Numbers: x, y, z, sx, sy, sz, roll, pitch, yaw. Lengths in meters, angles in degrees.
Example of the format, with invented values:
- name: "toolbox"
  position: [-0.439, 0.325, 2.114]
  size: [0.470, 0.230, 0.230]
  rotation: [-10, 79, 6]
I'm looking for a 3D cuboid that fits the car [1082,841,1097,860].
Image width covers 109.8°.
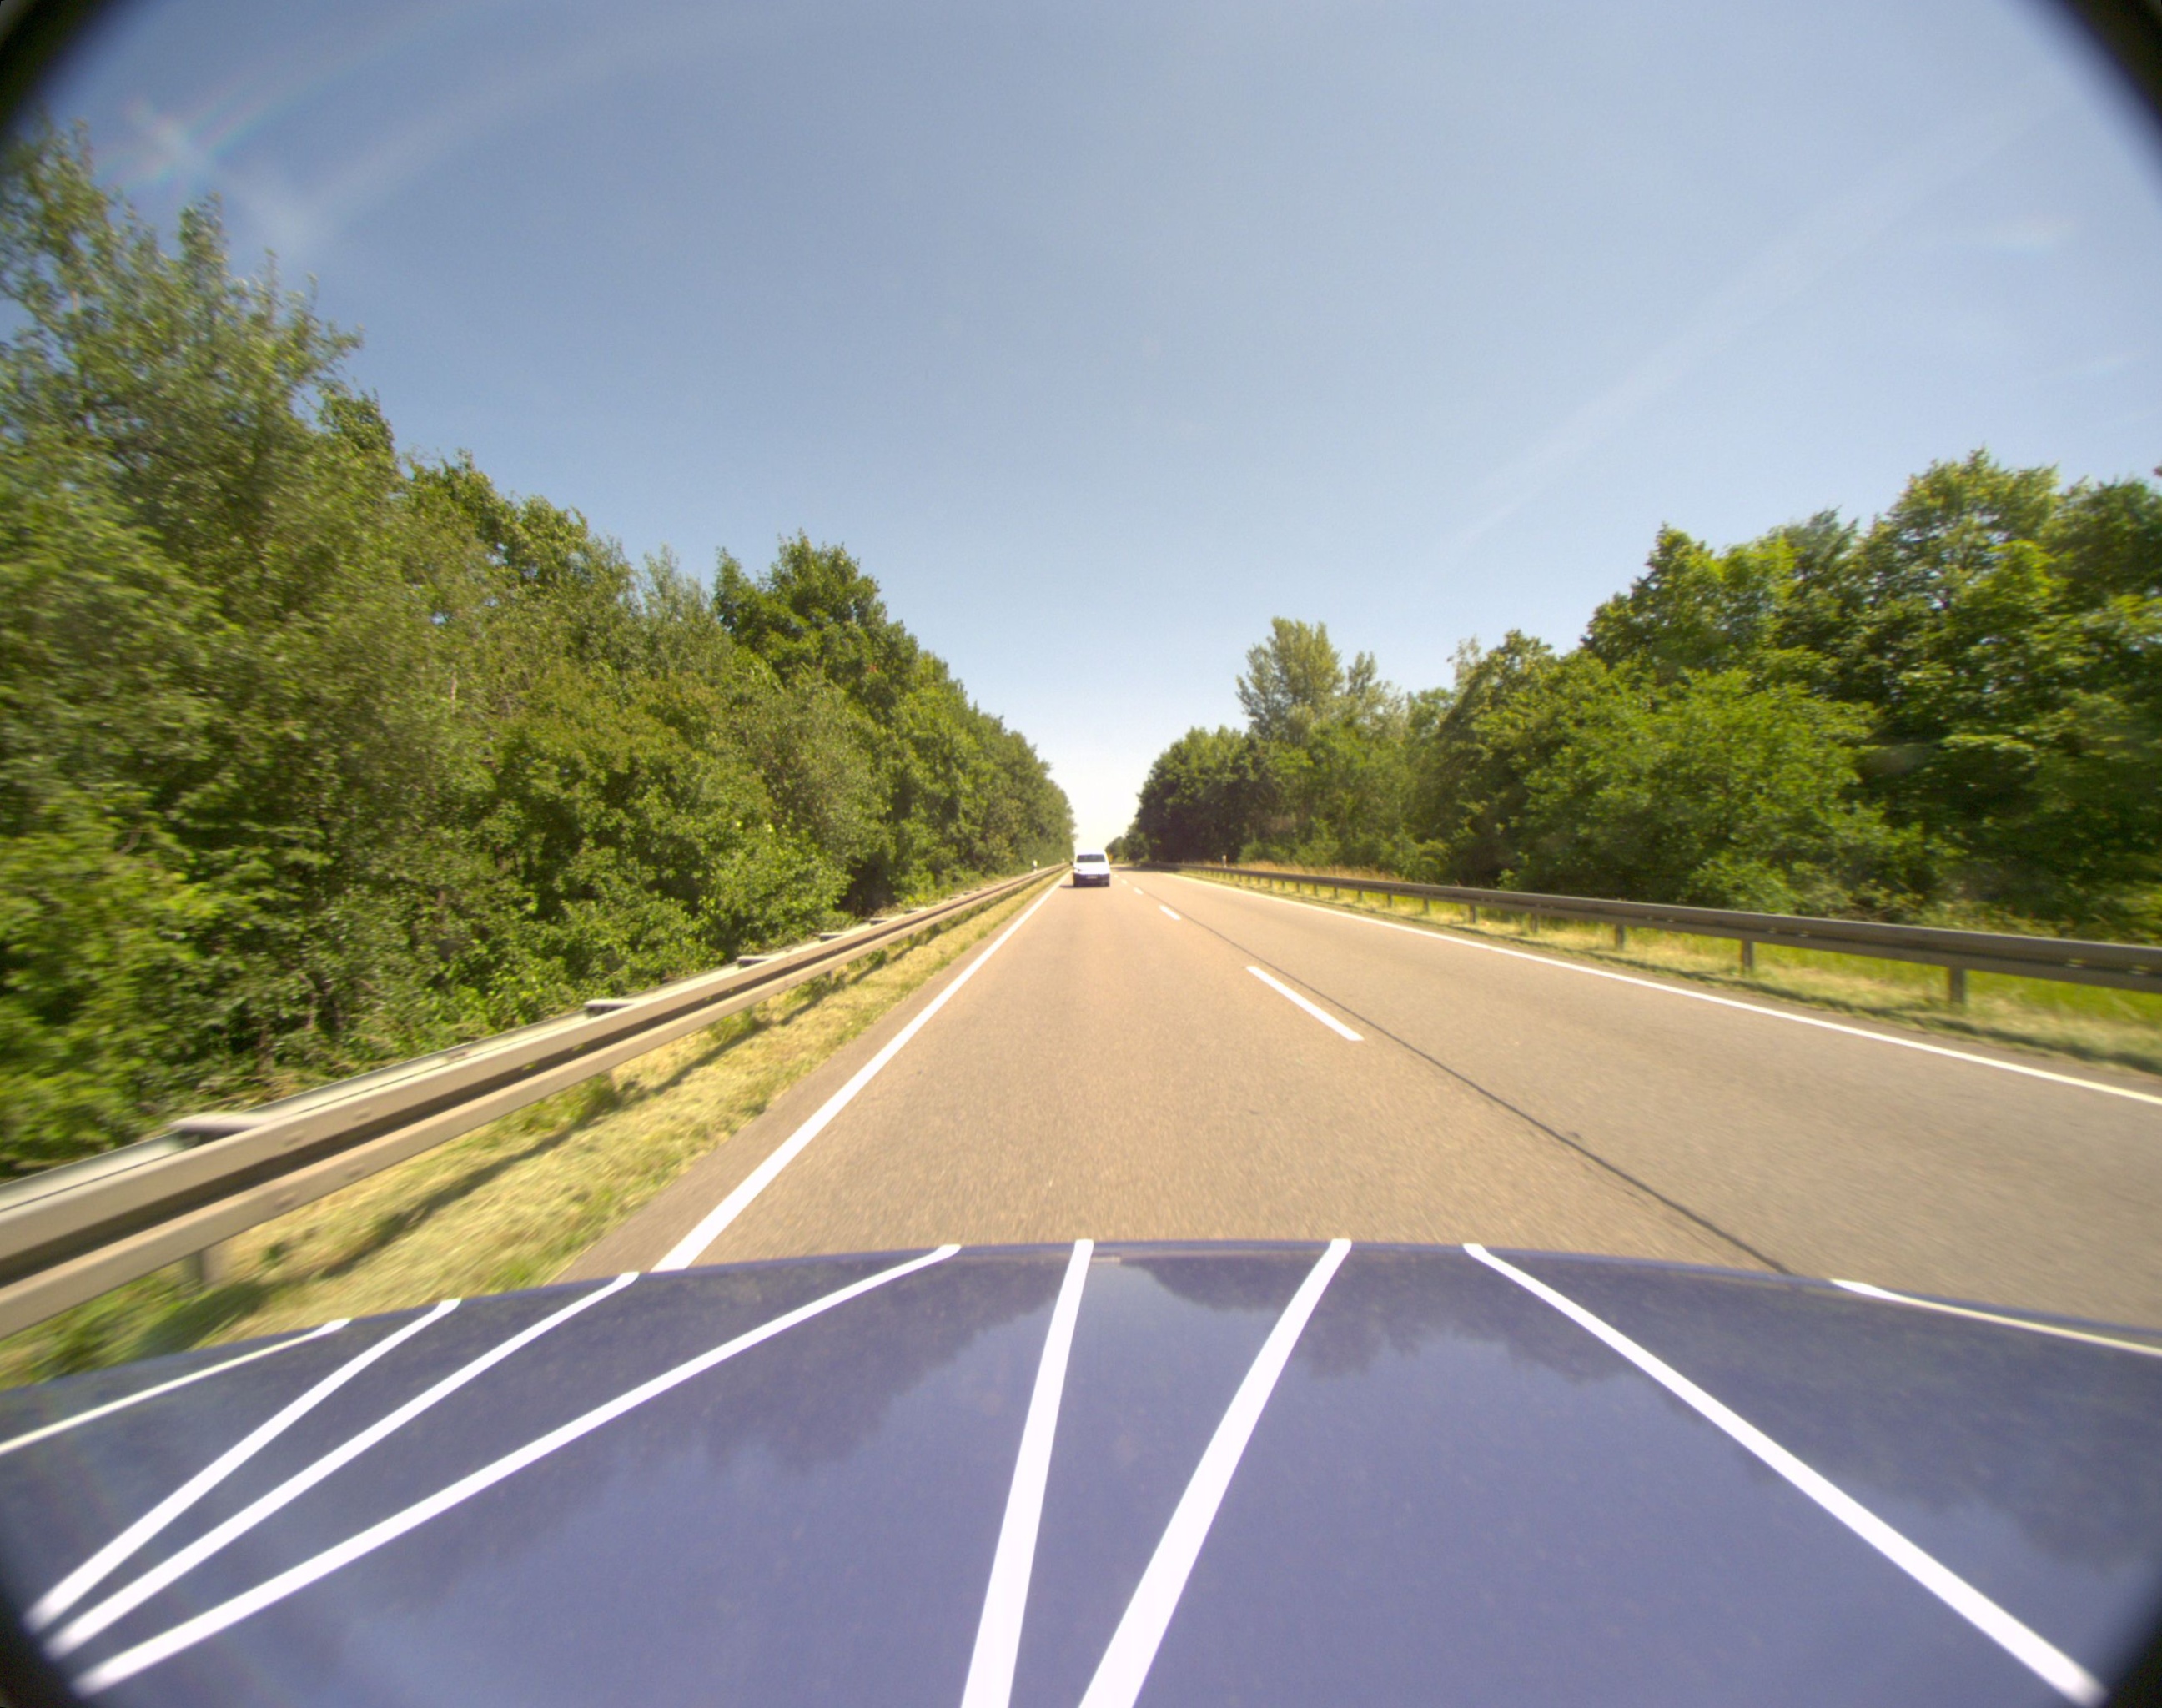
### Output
- name: "car"
  position: [1.078, -0.463, 98.692]
  size: [1.782, 2.287, 4.106]
  rotation: [-2, -1, 1]

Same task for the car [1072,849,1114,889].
- name: "car"
  position: [0.561, 0.687, 36.023]
  size: [1.782, 1.743, 4.513]
  rotation: [-2, -1, 1]
